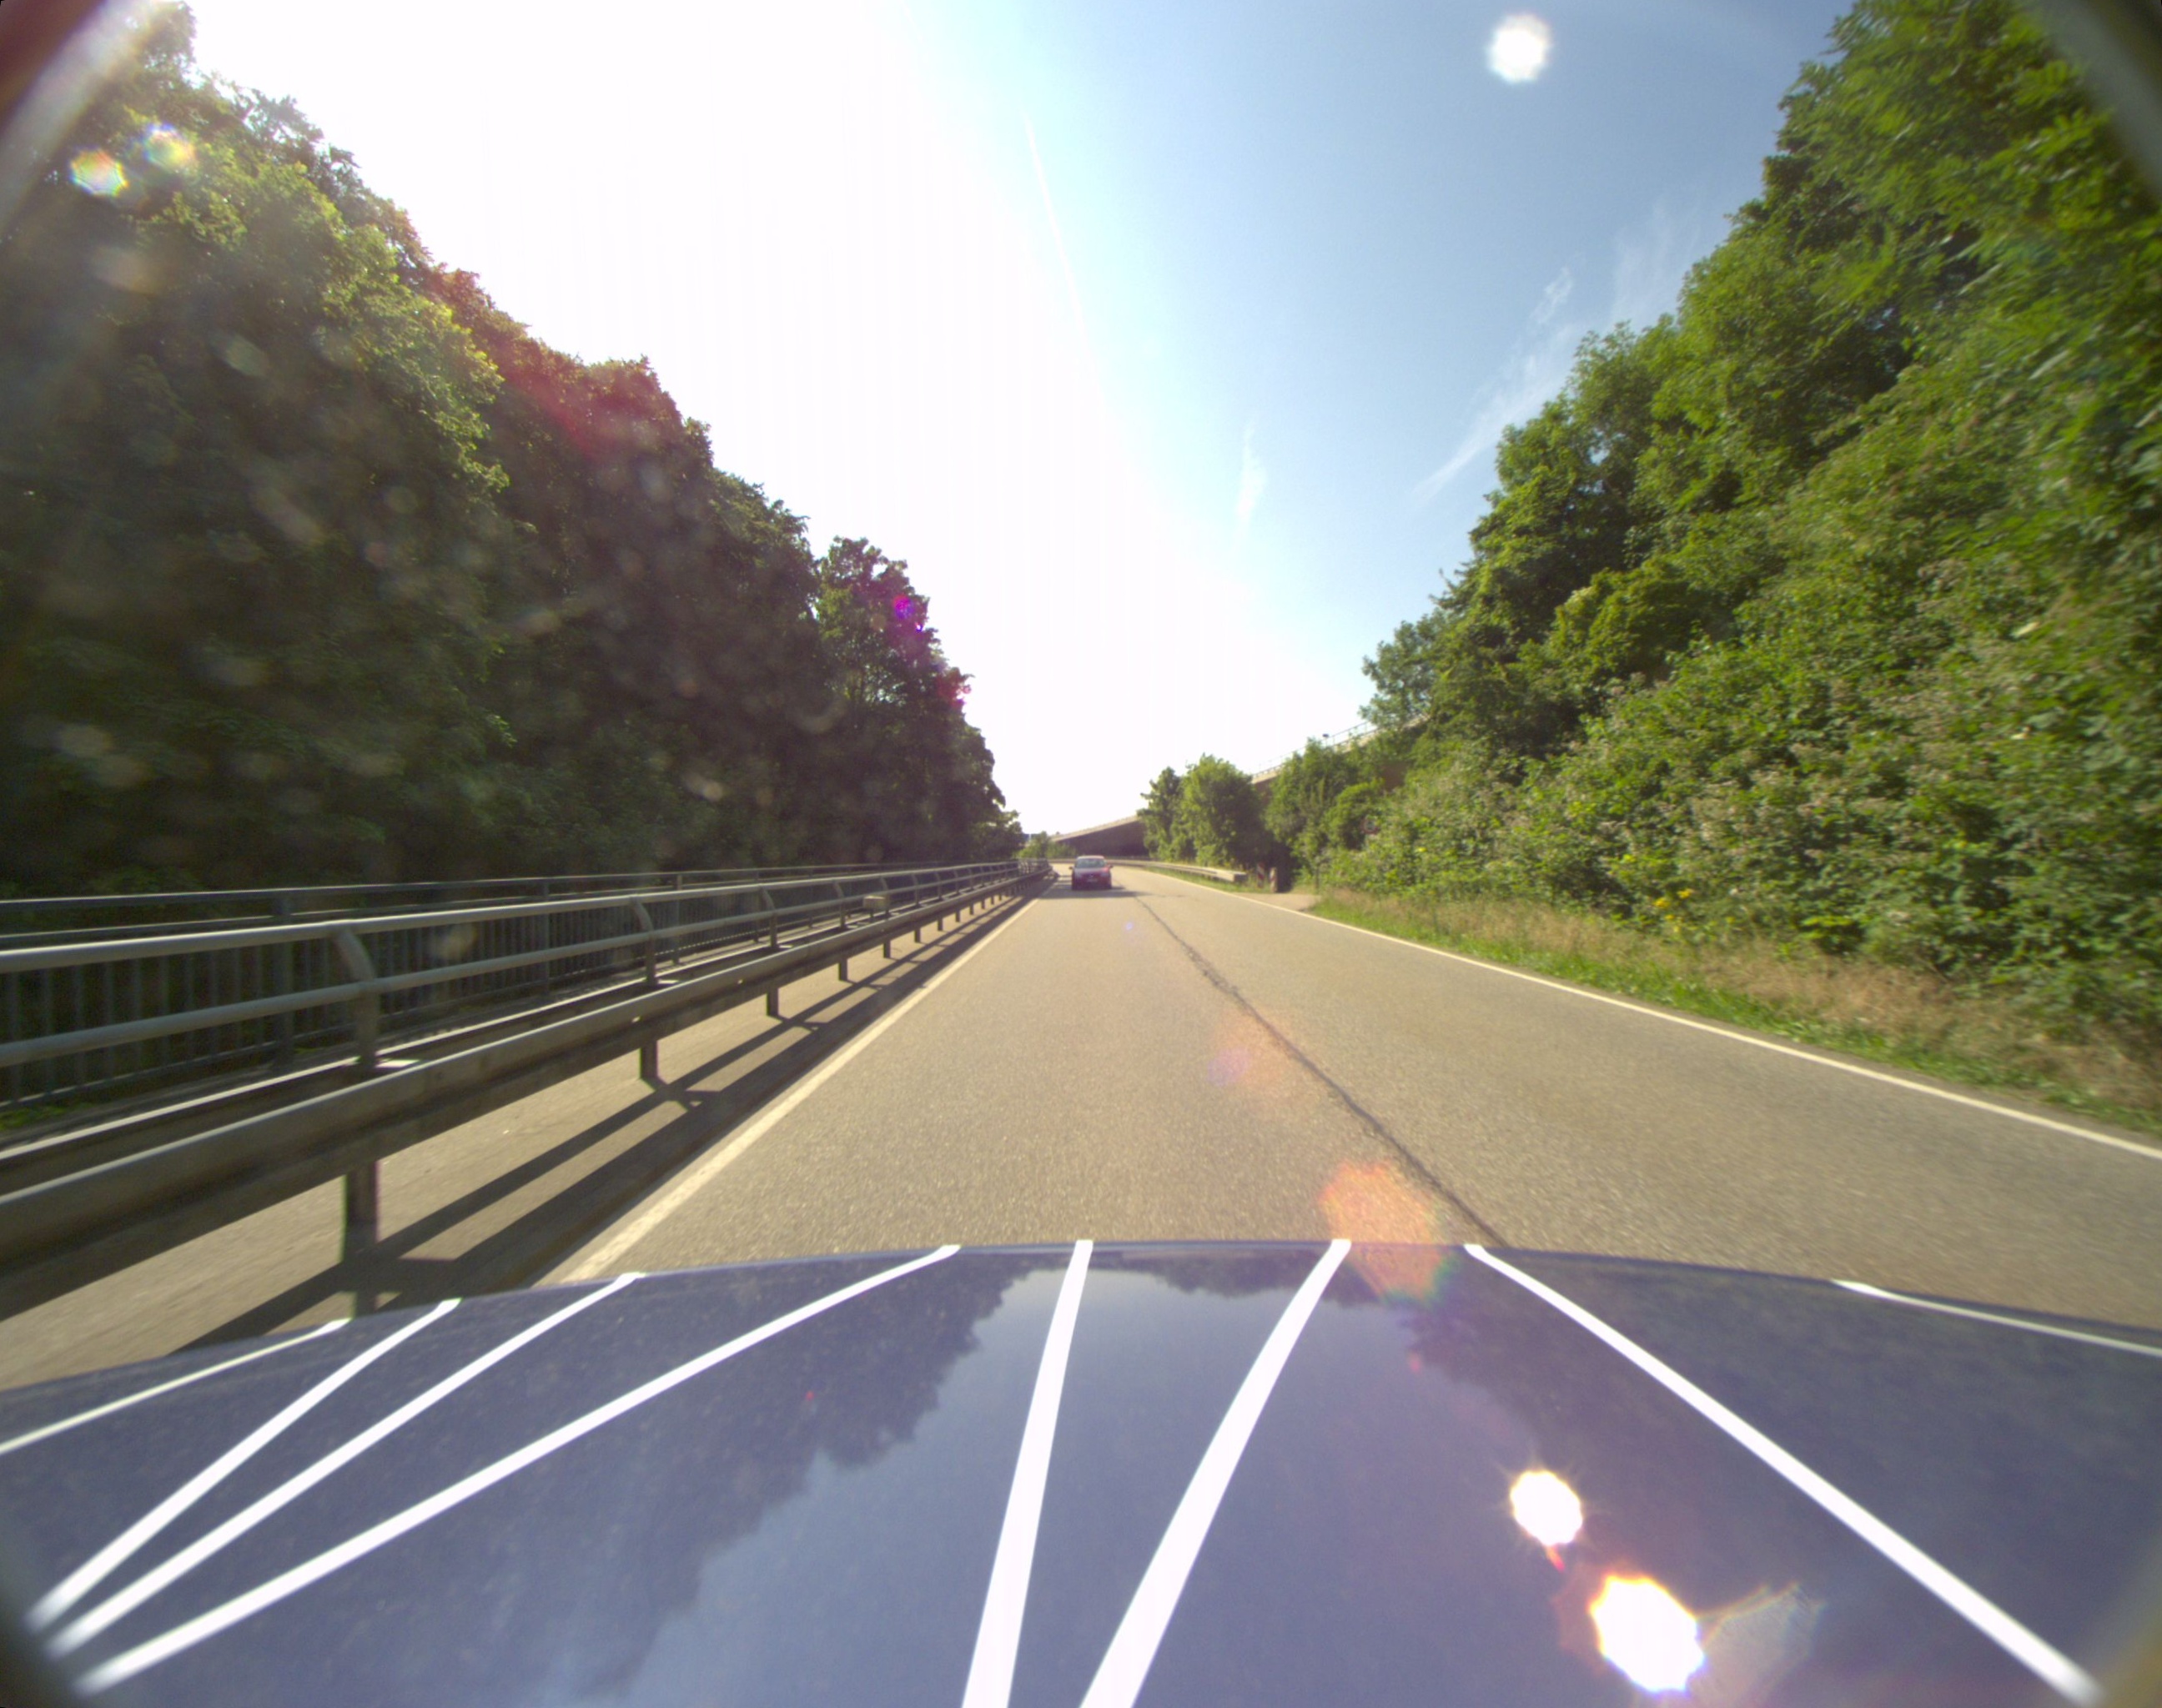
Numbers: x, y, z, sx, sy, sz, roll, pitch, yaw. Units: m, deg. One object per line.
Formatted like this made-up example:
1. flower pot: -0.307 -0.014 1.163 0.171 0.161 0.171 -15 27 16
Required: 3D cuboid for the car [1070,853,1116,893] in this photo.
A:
1. car: 0.528 0.773 32.970 1.816 1.488 4.286 -4 0 1
